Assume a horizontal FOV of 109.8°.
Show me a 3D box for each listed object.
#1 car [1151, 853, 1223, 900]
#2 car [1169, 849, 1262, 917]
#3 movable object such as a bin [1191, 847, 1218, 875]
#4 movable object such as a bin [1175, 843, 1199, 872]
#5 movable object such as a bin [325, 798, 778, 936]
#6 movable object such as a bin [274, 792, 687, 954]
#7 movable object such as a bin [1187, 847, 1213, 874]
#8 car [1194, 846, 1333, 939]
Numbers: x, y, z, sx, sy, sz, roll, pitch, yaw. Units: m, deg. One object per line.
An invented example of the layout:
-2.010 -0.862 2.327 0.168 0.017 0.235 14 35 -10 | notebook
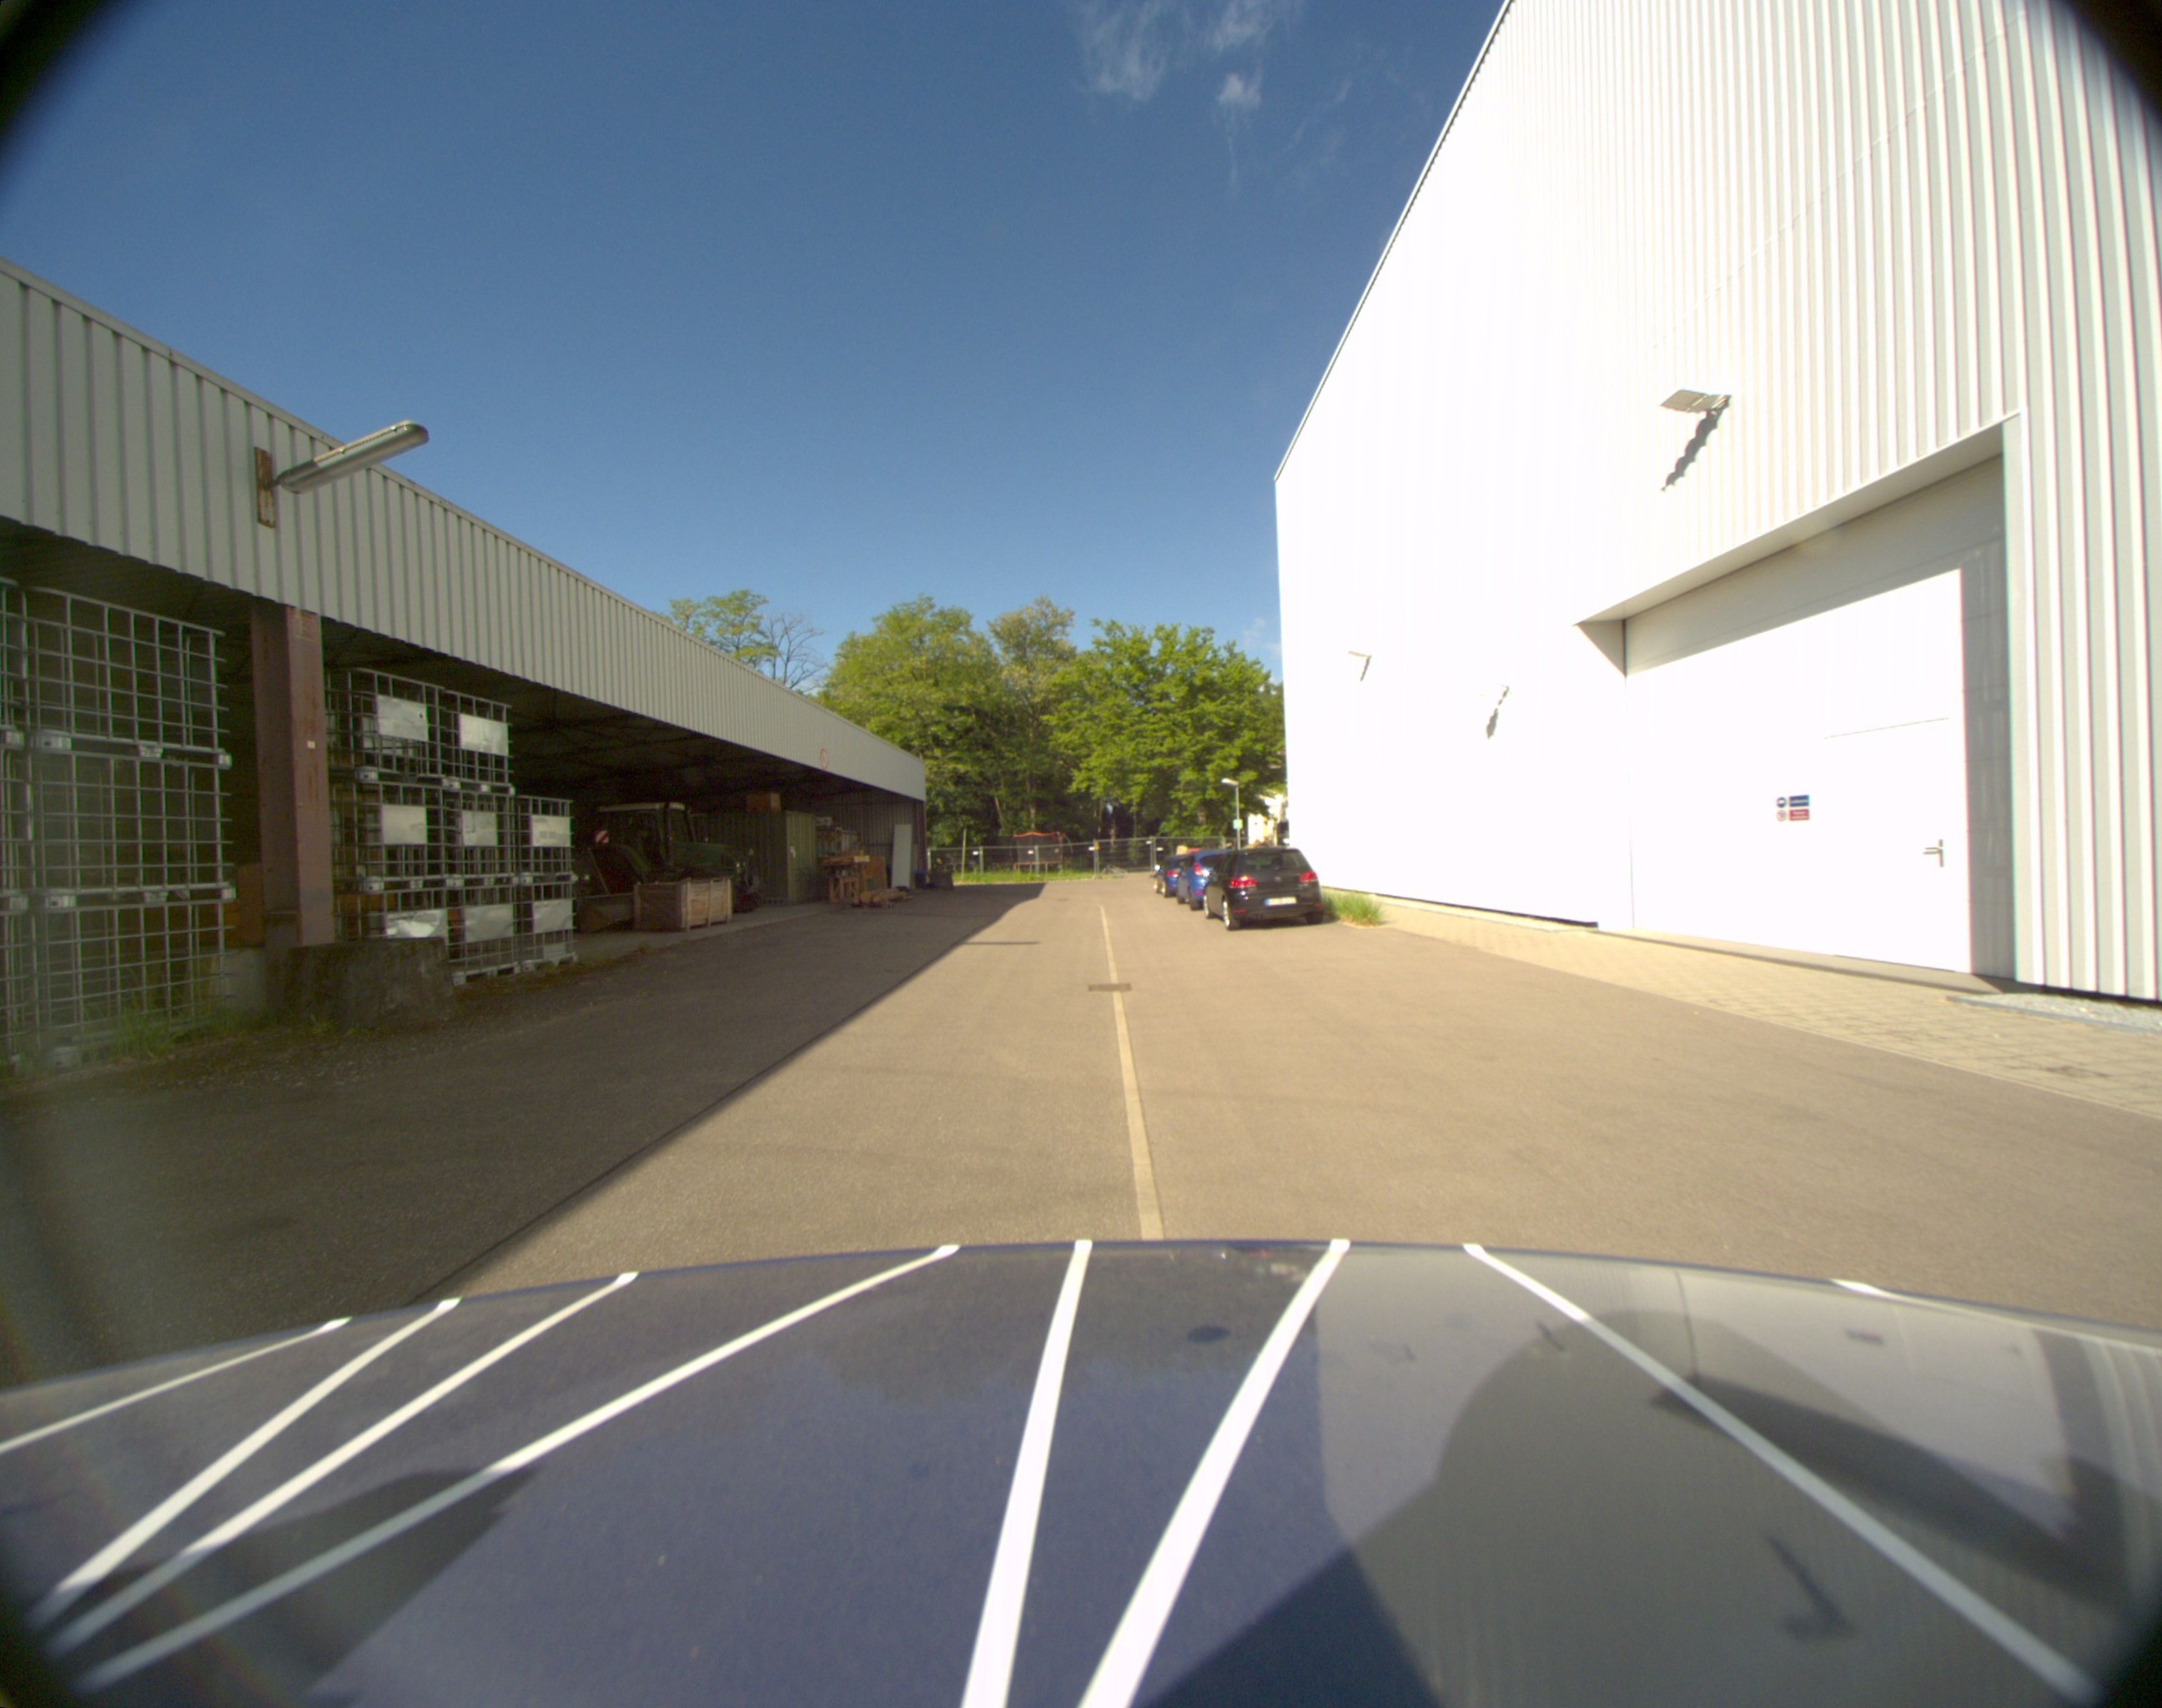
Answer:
3.474 0.689 25.560 1.778 1.353 4.053 -3 0 0 | car
3.435 0.668 20.112 1.635 1.491 4.094 -5 0 0 | car
6.647 0.385 41.007 1.093 1.424 1.230 -4 2 -5 | movable object such as a bin
6.168 0.202 44.239 1.093 1.588 1.230 -3 3 -5 | movable object such as a bin
-12.988 0.301 19.283 9.214 2.893 3.212 -2 1 2 | movable object such as a bin
-12.228 0.362 15.968 6.200 2.893 3.016 -2 1 2 | movable object such as a bin
6.624 0.342 42.340 1.093 1.431 1.230 -4 2 -5 | movable object such as a bin
3.460 0.651 15.214 1.759 1.491 4.294 -4 0 1 | car
